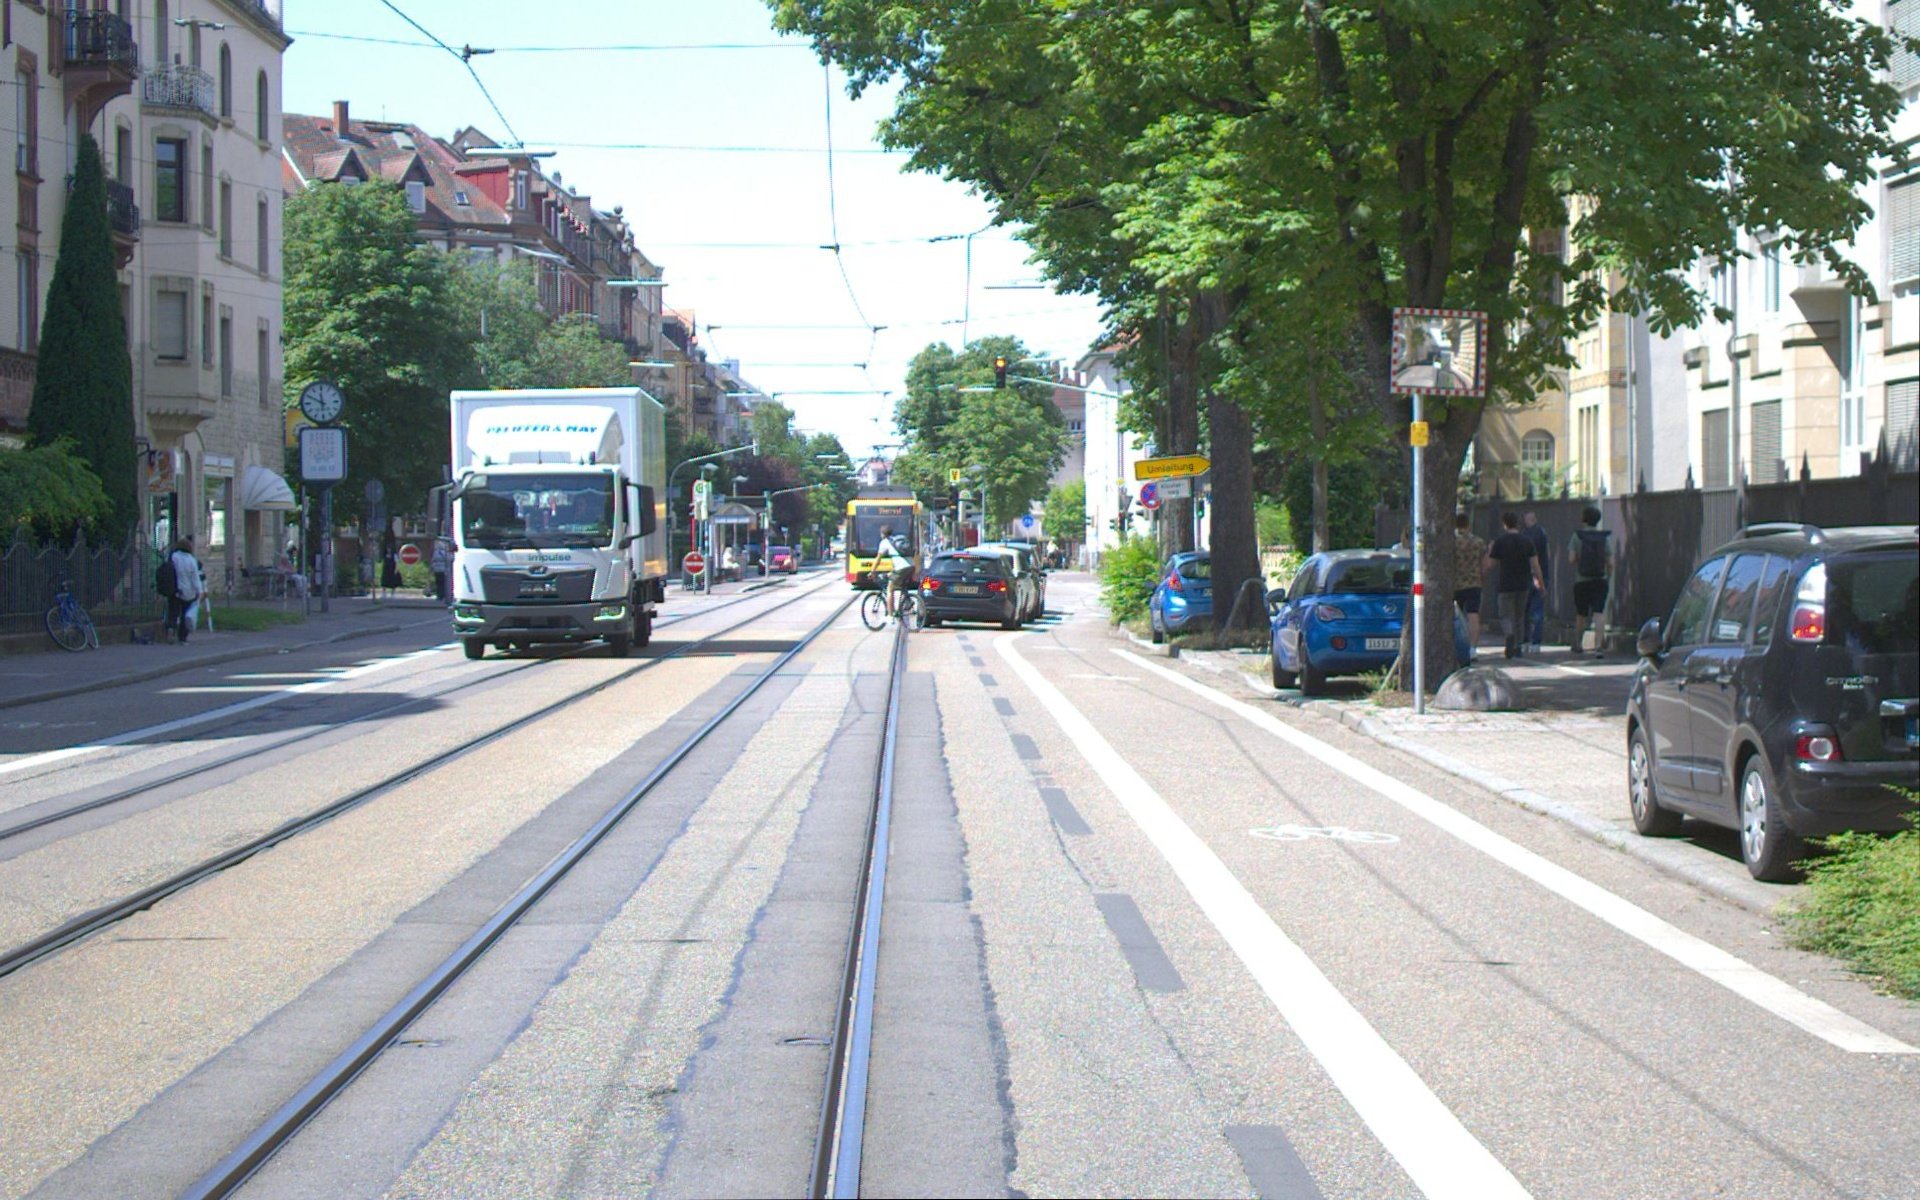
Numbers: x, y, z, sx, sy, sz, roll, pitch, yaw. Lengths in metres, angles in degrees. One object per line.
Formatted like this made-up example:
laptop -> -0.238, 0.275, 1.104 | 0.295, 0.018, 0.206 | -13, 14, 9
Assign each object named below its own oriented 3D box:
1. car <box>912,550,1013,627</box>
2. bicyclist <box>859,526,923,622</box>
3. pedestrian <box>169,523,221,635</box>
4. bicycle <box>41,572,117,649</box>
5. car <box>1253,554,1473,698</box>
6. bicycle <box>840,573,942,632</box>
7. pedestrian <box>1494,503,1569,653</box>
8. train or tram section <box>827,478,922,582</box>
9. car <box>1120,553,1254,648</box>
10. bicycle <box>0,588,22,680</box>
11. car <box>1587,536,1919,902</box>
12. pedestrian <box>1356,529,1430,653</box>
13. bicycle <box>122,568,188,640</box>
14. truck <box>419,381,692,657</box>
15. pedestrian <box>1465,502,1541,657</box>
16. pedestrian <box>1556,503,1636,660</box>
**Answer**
car -> 0.032, -0.225, 62.338 | 1.781, 1.341, 3.416 | 0, 1, -1
bicyclist -> -1.178, -0.438, 58.649 | 0.864, 1.610, 0.622 | 1, -1, 43
pedestrian -> -11.094, -0.307, 49.862 | 0.572, 1.610, 0.817 | 0, 1, 0
bicycle -> -11.636, 0.126, 45.457 | 0.543, 0.966, 1.781 | 1, 1, 0
car -> 4.213, 0.237, 36.491 | 1.710, 1.418, 4.310 | -1, 1, -1
bicycle -> -1.180, 0.033, 58.629 | 1.779, 0.966, 0.639 | 1, -1, 43
pedestrian -> 7.112, -0.273, 42.822 | 0.808, 1.853, 0.623 | 0, -1, -3
train or tram section -> -2.867, -2.409, 118.713 | 3.035, 3.426, 11.971 | 0, 1, 0
car -> 3.564, -0.016, 54.562 | 1.710, 1.418, 4.310 | -1, 1, -1
bicycle -> -10.628, 0.342, 35.799 | 0.544, 0.966, 1.778 | 1, -1, 29
car -> 4.341, 0.502, 17.180 | 1.592, 1.611, 3.908 | -1, 1, -1
pedestrian -> 5.344, -0.105, 42.444 | 0.809, 1.525, 0.623 | 0, -1, 17
bicycle -> -11.666, 0.044, 49.870 | 0.543, 0.966, 1.781 | 1, 2, 0
truck -> -5.527, -1.140, 48.399 | 2.939, 3.538, 8.453 | 0, 1, -1
pedestrian -> 6.548, -0.245, 41.487 | 0.808, 1.853, 0.576 | 0, -1, -3
pedestrian -> 7.540, -0.217, 40.796 | 0.808, 1.853, 0.623 | 0, -1, -3
